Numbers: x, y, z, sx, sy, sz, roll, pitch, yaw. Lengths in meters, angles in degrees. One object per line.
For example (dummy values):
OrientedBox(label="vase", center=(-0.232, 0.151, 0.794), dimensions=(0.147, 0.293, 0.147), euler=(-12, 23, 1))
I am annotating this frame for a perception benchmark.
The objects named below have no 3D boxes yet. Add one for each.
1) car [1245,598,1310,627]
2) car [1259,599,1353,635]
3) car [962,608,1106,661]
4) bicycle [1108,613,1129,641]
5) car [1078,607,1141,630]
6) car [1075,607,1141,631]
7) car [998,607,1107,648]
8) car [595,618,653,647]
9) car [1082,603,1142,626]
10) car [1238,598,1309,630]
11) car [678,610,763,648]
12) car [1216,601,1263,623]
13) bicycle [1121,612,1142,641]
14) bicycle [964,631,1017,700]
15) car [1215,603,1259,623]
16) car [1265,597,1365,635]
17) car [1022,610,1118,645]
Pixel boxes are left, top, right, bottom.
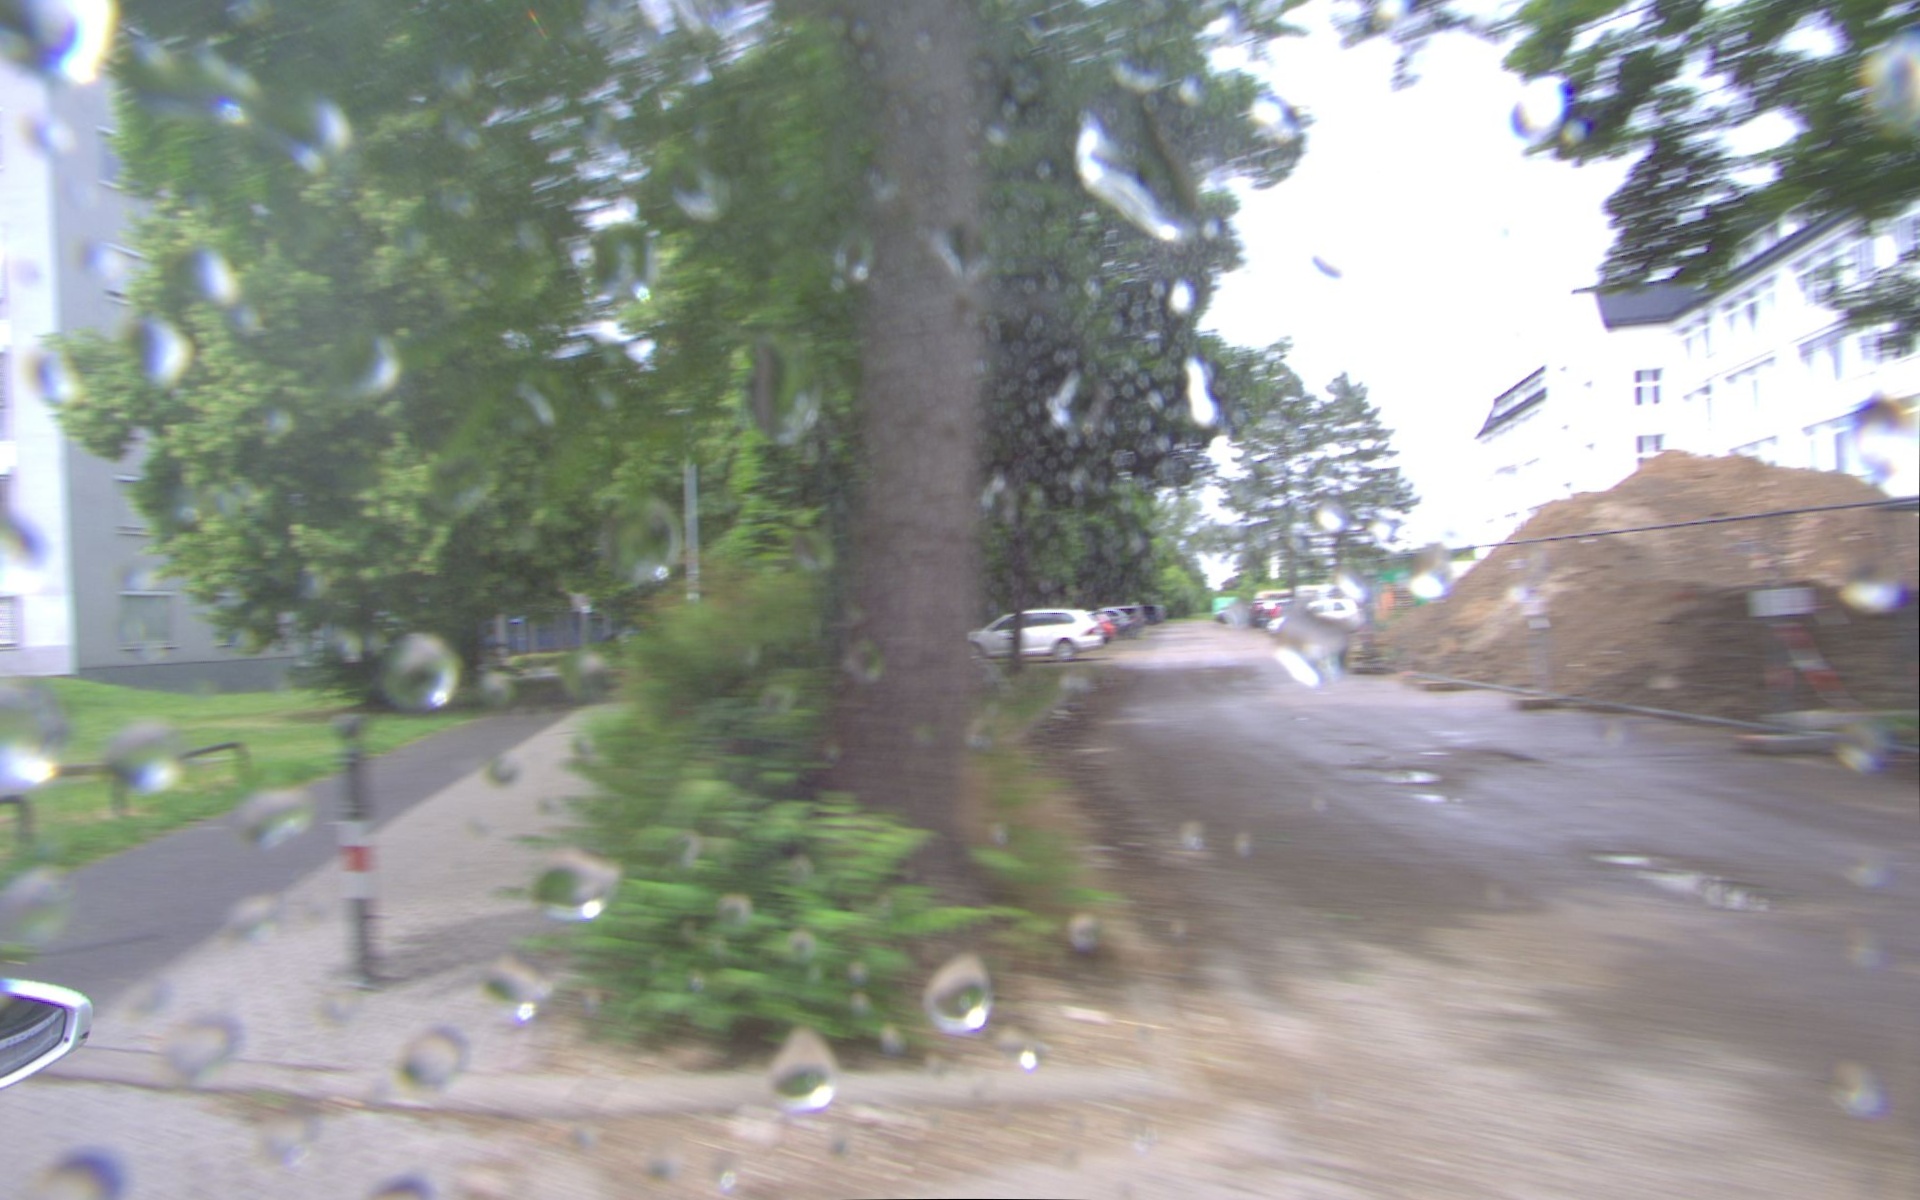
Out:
OrientedBox(label="car", center=(19.605, 0.780, 61.957), dimensions=(3.663, 1.620, 1.839), euler=(-3, -2, 13))
OrientedBox(label="car", center=(15.220, 0.783, 44.227), dimensions=(3.663, 1.394, 1.839), euler=(-3, -2, 13))
OrientedBox(label="car", center=(2.100, 1.000, 28.817), dimensions=(3.969, 1.427, 1.983), euler=(-1, -2, 2))
OrientedBox(label="bicycle", center=(7.576, 1.297, 47.890), dimensions=(0.586, 1.283, 2.671), euler=(-1, -2, 1))
OrientedBox(label="car", center=(9.986, 1.269, 66.811), dimensions=(3.972, 1.427, 1.981), euler=(-1, -2, 12))
OrientedBox(label="car", center=(9.239, 1.200, 62.436), dimensions=(3.972, 1.427, 1.981), euler=(-1, -2, 12))
OrientedBox(label="car", center=(3.422, 1.035, 37.705), dimensions=(3.969, 1.427, 1.983), euler=(-1, -2, 2))
OrientedBox(label="car", center=(-21.105, 2.052, 63.061), dimensions=(1.752, 1.731, 3.981), euler=(-1, -2, 11))
OrientedBox(label="car", center=(10.532, 1.005, 69.366), dimensions=(3.972, 1.427, 1.981), euler=(-1, -2, 12))
OrientedBox(label="car", center=(17.964, 0.829, 57.558), dimensions=(3.663, 1.620, 1.839), euler=(-3, -2, 13))
OrientedBox(label="car", center=(-13.831, 1.696, 57.921), dimensions=(4.298, 2.039, 2.000), euler=(-1, -2, 12))
OrientedBox(label="car", center=(23.661, 1.015, 84.793), dimensions=(3.663, 1.620, 1.839), euler=(-3, -2, 13))
OrientedBox(label="bicycle", center=(8.190, 1.271, 47.901), dimensions=(0.586, 1.324, 2.670), euler=(-1, -2, 1))
OrientedBox(label="bicycle", center=(0.420, 0.918, 14.459), dimensions=(0.459, 0.891, 1.569), euler=(-1, 0, -10))
OrientedBox(label="car", center=(24.859, 1.202, 89.887), dimensions=(3.663, 1.620, 1.839), euler=(-3, -2, 13))
OrientedBox(label="car", center=(14.731, 0.691, 41.748), dimensions=(3.663, 1.394, 1.839), euler=(-3, -2, 13))
OrientedBox(label="car", center=(4.721, 1.195, 43.399), dimensions=(3.969, 1.427, 1.983), euler=(-1, -2, 2))
